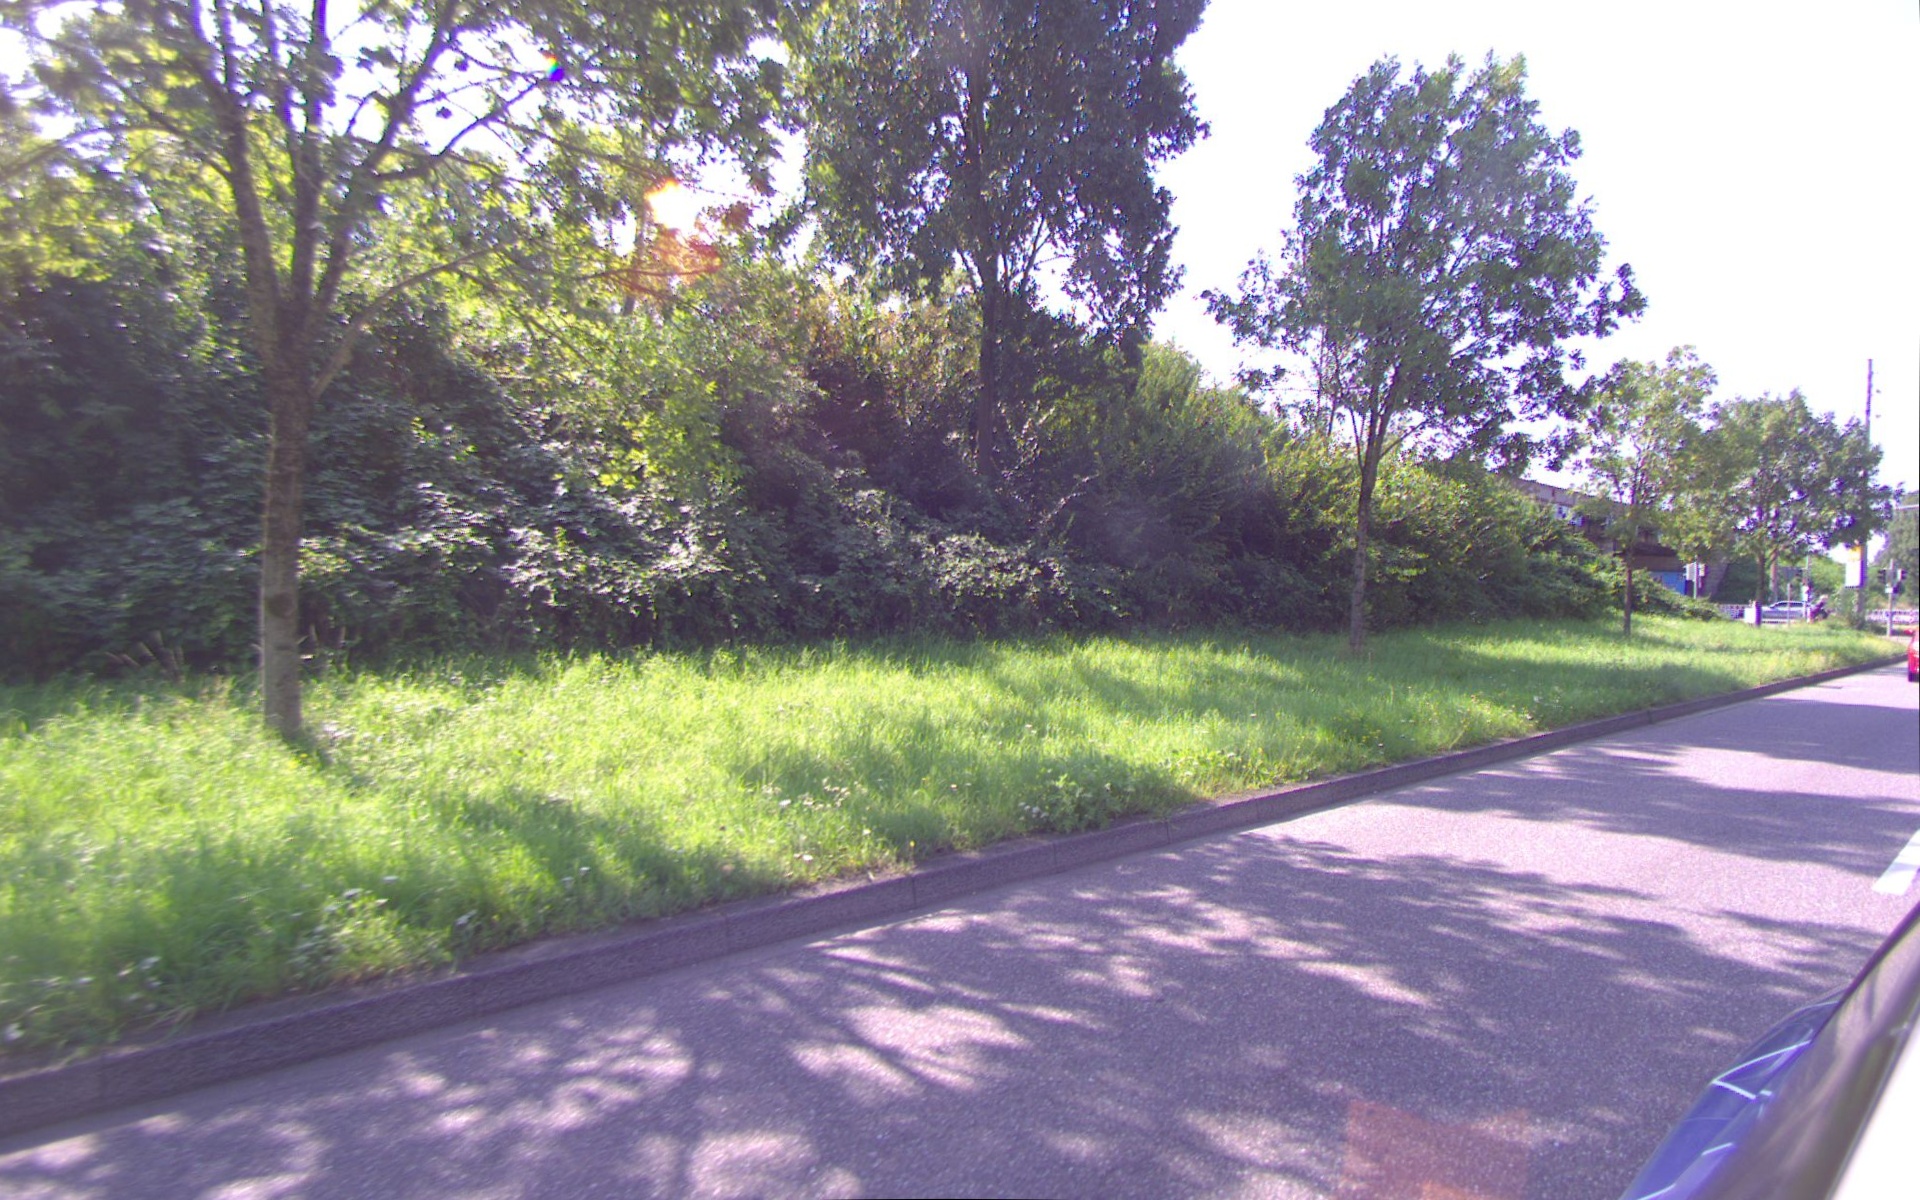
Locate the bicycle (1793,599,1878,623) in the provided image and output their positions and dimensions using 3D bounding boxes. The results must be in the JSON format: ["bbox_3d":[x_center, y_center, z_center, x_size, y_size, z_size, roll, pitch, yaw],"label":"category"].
[{"bbox_3d":[43.625,0.553,50.481,2.943,1.062,1.226,2,1,22],"label":"bicycle"}]

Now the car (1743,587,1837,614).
[{"bbox_3d":[55.325,-0.011,67.512,1.811,1.460,4.596,0,4,-44],"label":"car"}]

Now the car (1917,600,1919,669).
[{"bbox_3d":[20.539,0.737,20.404,1.637,1.486,3.500,0,0,41],"label":"car"}]

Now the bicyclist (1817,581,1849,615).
[{"bbox_3d":[43.557,-0.100,50.487,0.959,1.679,0.707,2,0,22],"label":"bicyclist"}]
